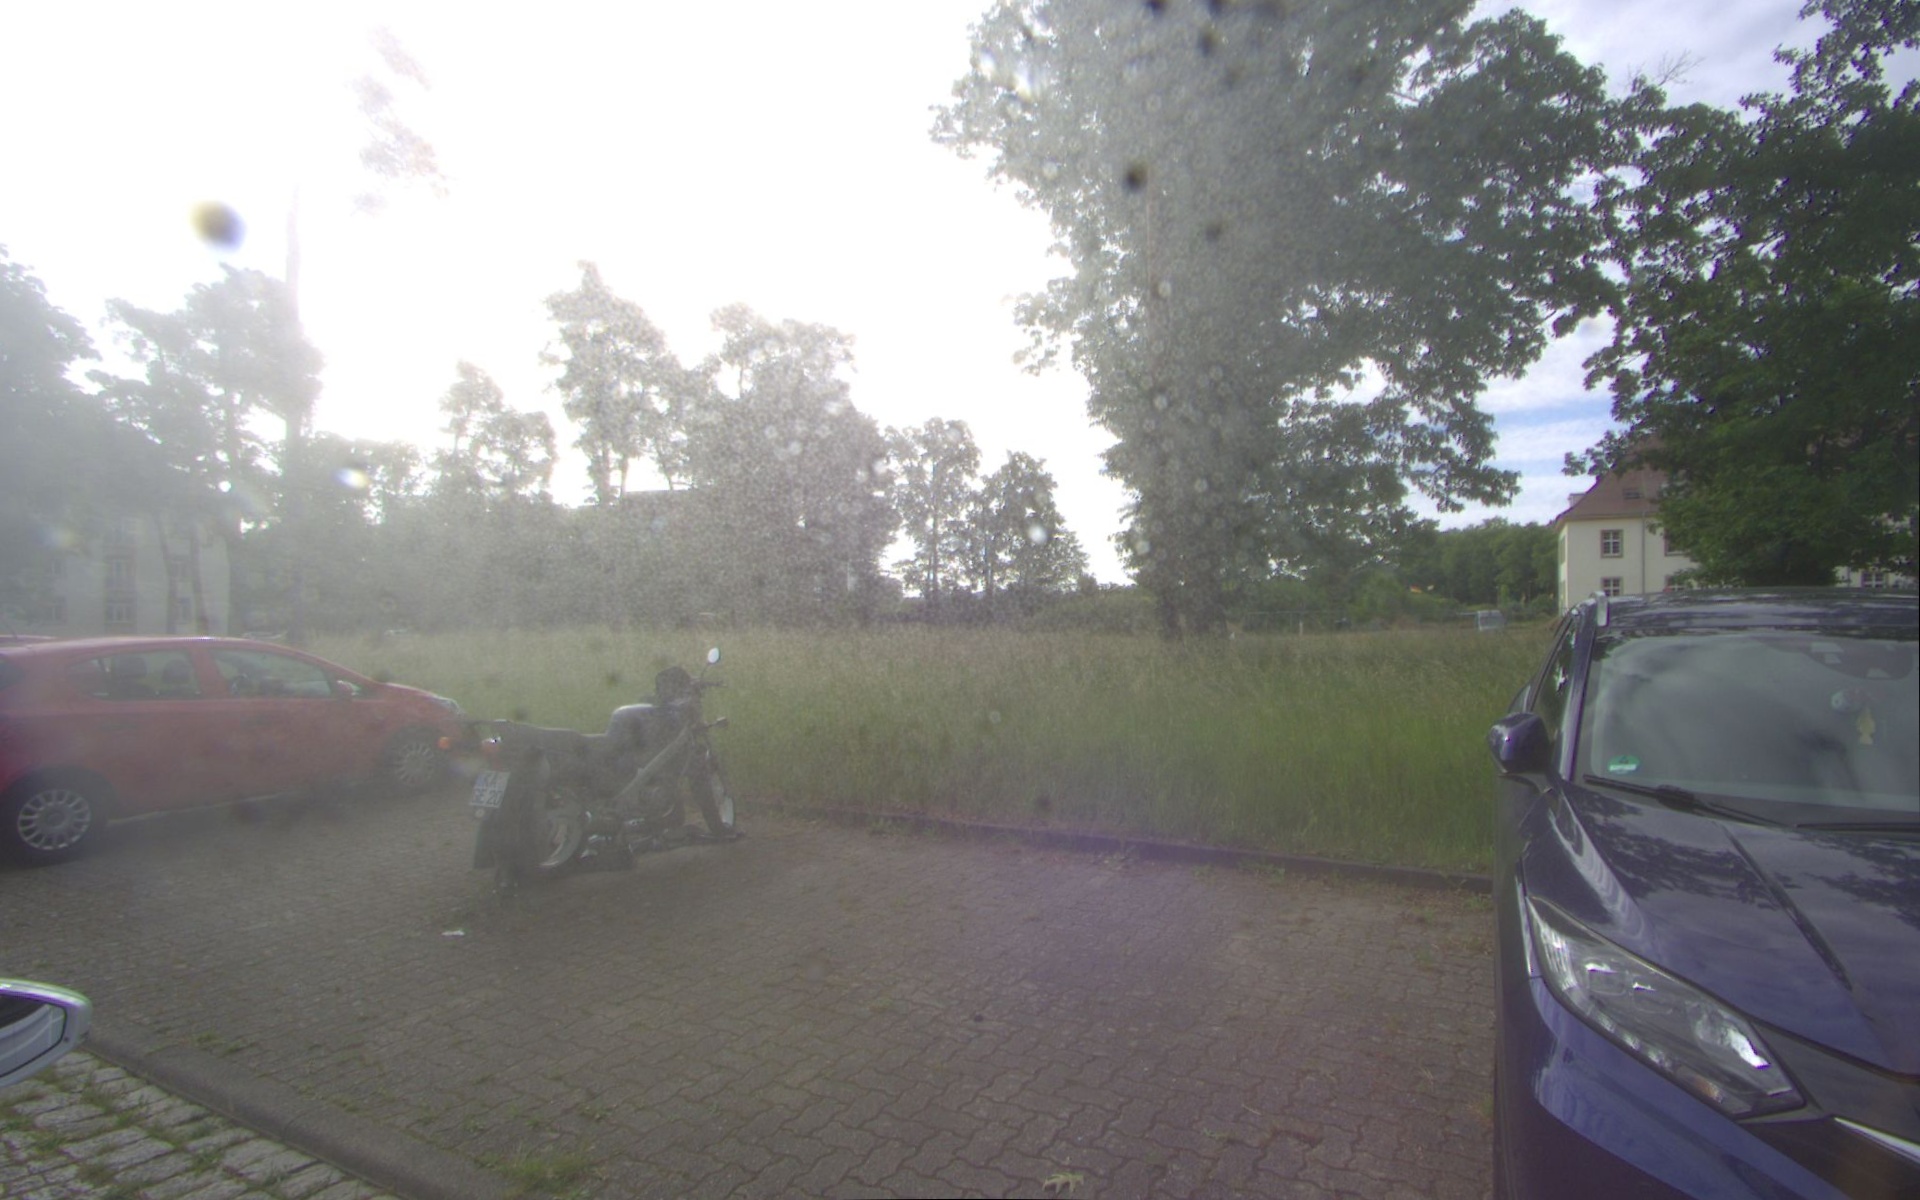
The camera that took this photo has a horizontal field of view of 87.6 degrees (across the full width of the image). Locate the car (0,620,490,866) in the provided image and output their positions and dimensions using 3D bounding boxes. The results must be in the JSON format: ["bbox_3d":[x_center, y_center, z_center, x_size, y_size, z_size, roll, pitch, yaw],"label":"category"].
[{"bbox_3d":[-6.118,0.959,8.171,1.752,1.479,3.821,-1,0,28],"label":"car"}]

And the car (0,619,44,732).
[{"bbox_3d":[-14.931,1.088,13.073,1.723,1.573,4.026,-1,0,27],"label":"car"}]

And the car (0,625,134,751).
[{"bbox_3d":[-12.563,1.103,11.959,1.725,1.479,3.787,-1,0,29],"label":"car"}]

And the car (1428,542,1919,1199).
[{"bbox_3d":[2.567,0.741,3.055,1.766,1.591,4.158,-2,-2,29],"label":"car"}]

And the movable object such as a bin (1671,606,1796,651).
[{"bbox_3d":[47.824,1.777,62.136,5.894,2.689,2.164,-1,-2,33],"label":"movable object such as a bin"}]

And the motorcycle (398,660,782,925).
[{"bbox_3d":[-2.127,1.031,6.206,0.783,1.201,2.326,-1,0,26],"label":"motorcycle"}]
